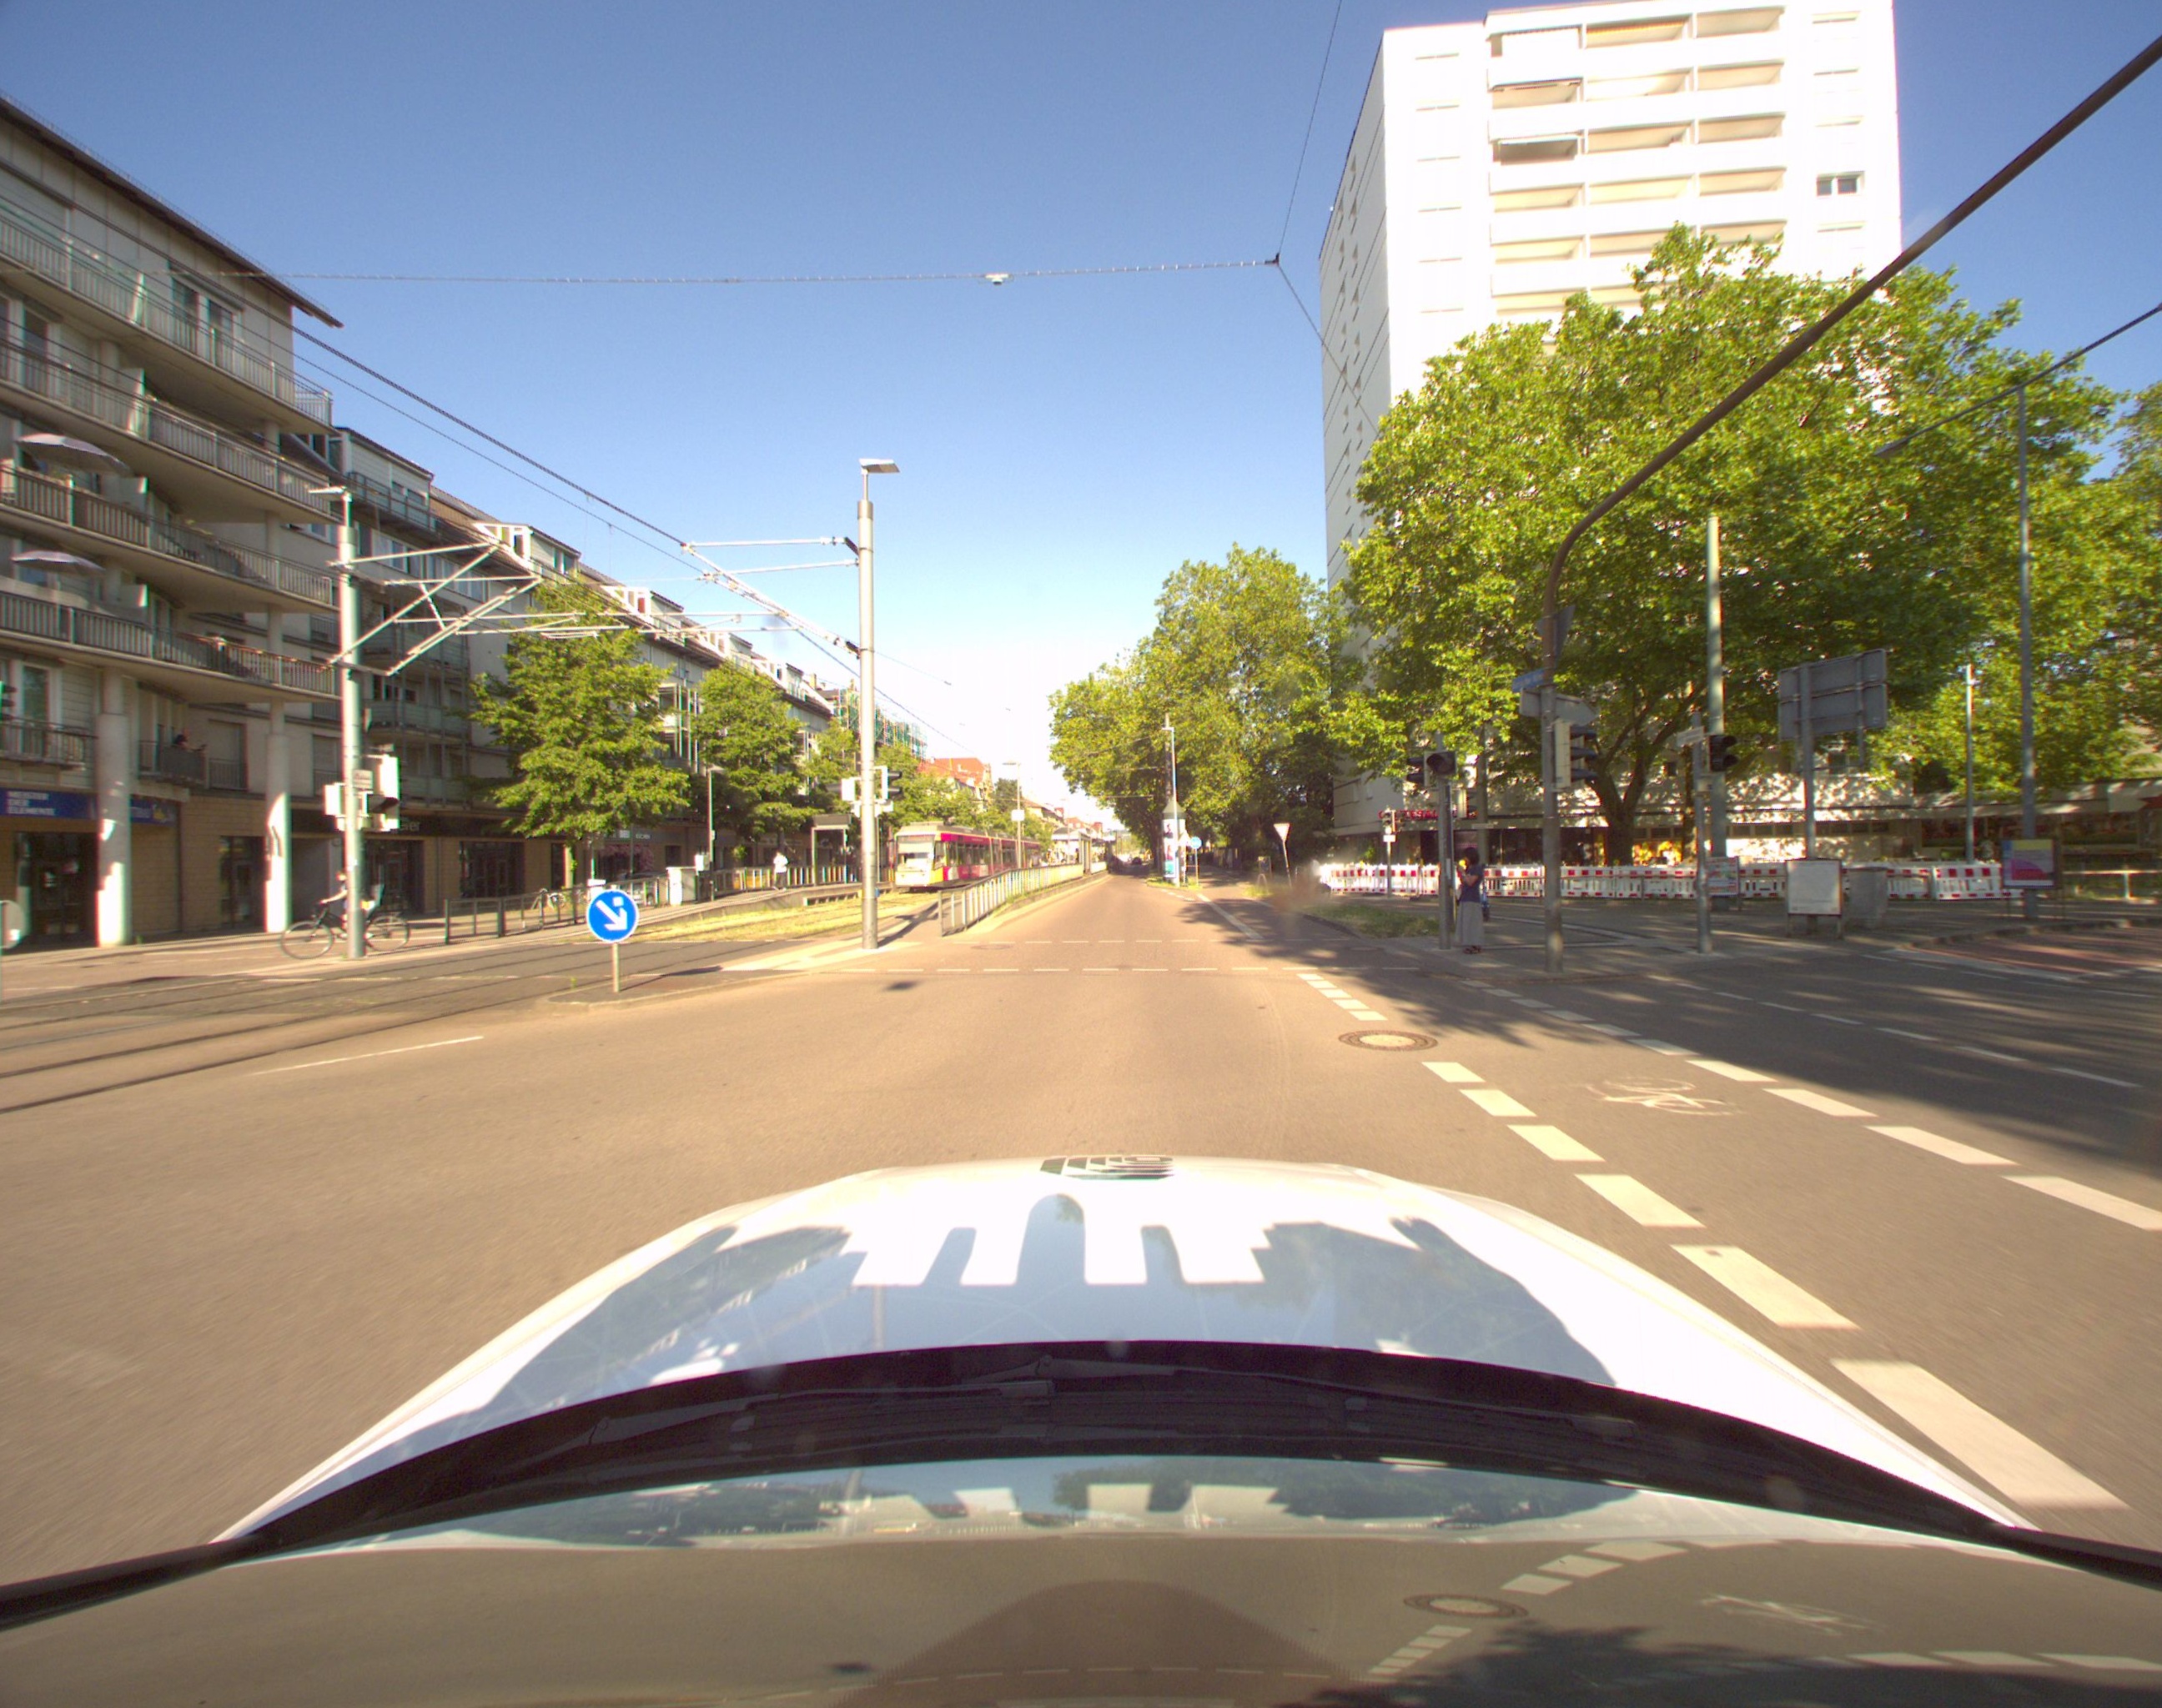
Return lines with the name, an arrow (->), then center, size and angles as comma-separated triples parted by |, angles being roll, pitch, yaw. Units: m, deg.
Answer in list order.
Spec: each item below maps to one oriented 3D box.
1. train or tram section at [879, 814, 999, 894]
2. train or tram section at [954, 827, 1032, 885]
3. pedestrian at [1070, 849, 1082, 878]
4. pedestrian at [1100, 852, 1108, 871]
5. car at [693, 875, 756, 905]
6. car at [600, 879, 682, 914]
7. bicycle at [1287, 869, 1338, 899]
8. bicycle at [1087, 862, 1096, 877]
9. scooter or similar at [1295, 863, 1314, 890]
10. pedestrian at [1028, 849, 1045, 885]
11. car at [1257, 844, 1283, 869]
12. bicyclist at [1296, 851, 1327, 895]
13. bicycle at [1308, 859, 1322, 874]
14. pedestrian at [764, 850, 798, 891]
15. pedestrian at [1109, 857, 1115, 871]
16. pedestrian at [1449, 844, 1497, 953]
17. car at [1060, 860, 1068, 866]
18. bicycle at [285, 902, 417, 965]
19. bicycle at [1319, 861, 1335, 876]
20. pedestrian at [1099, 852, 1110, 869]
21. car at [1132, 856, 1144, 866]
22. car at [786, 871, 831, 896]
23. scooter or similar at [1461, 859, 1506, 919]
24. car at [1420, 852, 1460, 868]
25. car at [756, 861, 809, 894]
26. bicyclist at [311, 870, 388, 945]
train or tram section -> -7.363, 0.070, 45.329 | 2.856, 3.676, 14.578 | -2, -1, 5
train or tram section -> -6.153, 0.229, 59.848 | 2.856, 3.686, 14.578 | -2, -1, 5
pedestrian -> -0.331, 0.611, 54.359 | 0.666, 1.902, 0.825 | 1, -1, 3
pedestrian -> 2.190, 0.739, 77.797 | 0.761, 1.759, 0.695 | 1, -1, 4
car -> -21.121, 2.100, 48.378 | 1.798, 1.636, 3.789 | 1, -1, 4
car -> -21.676, 2.062, 40.292 | 1.798, 1.578, 3.789 | 1, -1, 4
bicycle -> 8.411, 1.088, 29.603 | 0.608, 1.026, 1.746 | -1, -1, -38
bicycle -> 0.771, 1.135, 61.000 | 0.511, 1.133, 2.106 | 1, -1, 4
scooter or similar -> 10.996, 1.094, 40.107 | 0.558, 1.257, 1.290 | -2, -1, 1
pedestrian -> -2.023, 0.591, 36.935 | 0.627, 1.610, 0.983 | 1, -1, 3
car -> 20.326, 0.303, 87.813 | 1.983, 2.499, 6.358 | 0, -1, 7
bicyclist -> 8.393, 0.689, 29.620 | 0.608, 1.551, 0.850 | -1, -1, -38
bicycle -> 18.702, 0.992, 65.138 | 0.785, 1.178, 1.822 | 1, -1, 4
pedestrian -> -11.612, 0.635, 31.534 | 0.896, 1.581, 0.959 | 1, -1, 2
pedestrian -> 3.612, 1.143, 94.914 | 0.676, 1.690, 0.896 | 1, -1, 4
pedestrian -> 6.032, 0.669, 12.553 | 0.426, 1.639, 0.612 | 0, -1, -3
car -> -5.177, 2.779, 249.270 | 2.006, 1.754, 4.563 | 1, 0, 4
bicycle -> -14.069, 1.502, 15.740 | 0.528, 1.053, 1.836 | -1, 0, 39
bicycle -> 19.640, 1.148, 65.029 | 0.785, 1.178, 1.822 | 1, -1, 4
pedestrian -> 2.341, 0.656, 80.038 | 0.913, 1.722, 0.625 | 1, -1, -29
car -> 10.148, 1.269, 145.402 | 1.984, 1.684, 4.005 | 1, -1, 5
car -> -20.094, 2.125, 60.271 | 1.798, 1.729, 3.789 | 1, -1, 4
scooter or similar -> 8.824, 0.752, 17.897 | 0.556, 1.257, 1.294 | -3, -1, 13
car -> 32.575, 0.542, 74.065 | 1.986, 1.453, 4.001 | 1, -1, 1
car -> -20.469, 1.609, 56.021 | 1.931, 2.166, 3.789 | 1, -1, 4
bicyclist -> -14.095, 1.001, 15.707 | 0.528, 1.372, 1.025 | -1, -1, 39
